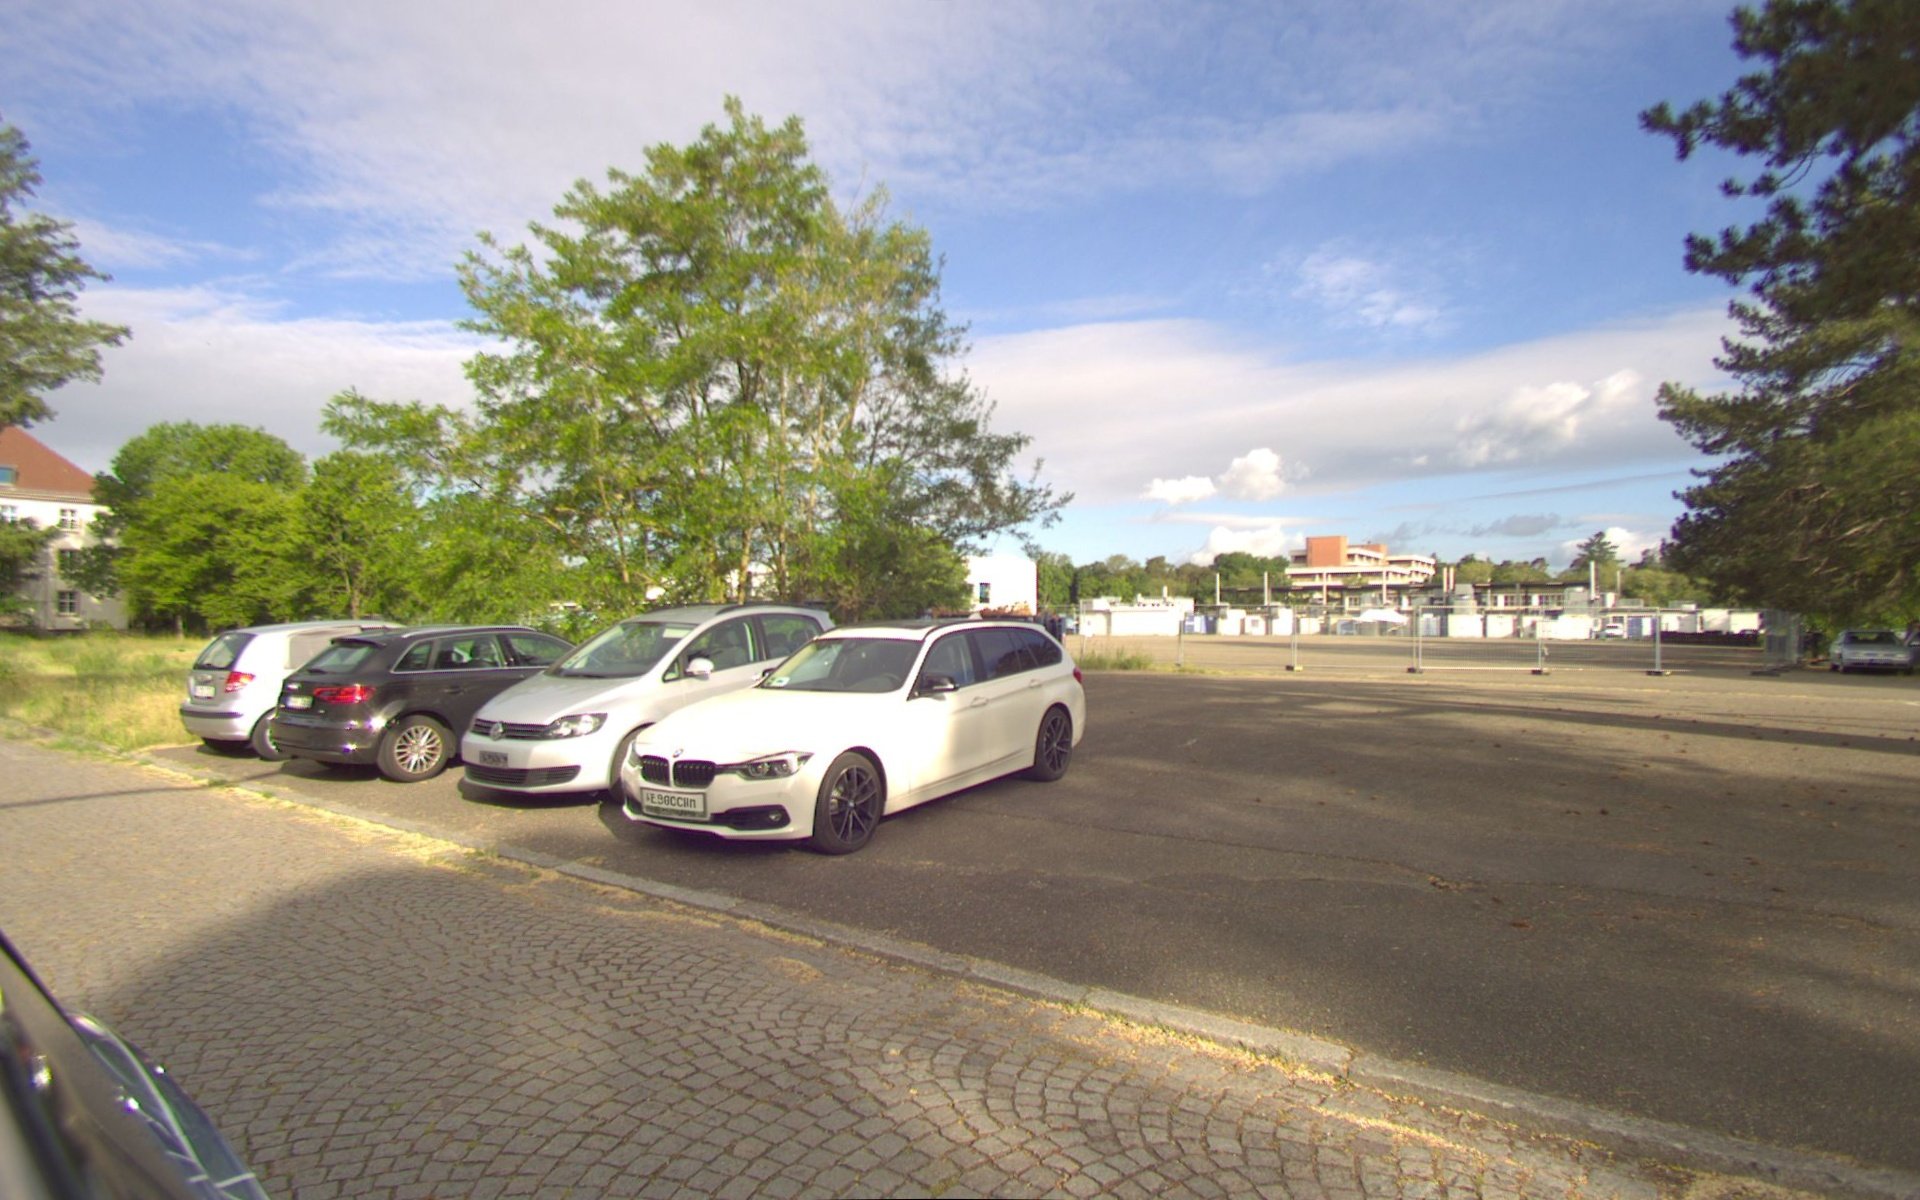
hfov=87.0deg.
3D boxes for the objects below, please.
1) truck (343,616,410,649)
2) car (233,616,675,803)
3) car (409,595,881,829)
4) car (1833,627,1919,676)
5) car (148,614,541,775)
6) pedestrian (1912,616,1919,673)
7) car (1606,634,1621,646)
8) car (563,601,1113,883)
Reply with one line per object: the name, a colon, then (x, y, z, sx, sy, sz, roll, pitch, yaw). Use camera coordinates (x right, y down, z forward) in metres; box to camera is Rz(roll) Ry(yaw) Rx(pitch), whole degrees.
truck: (-47.160, 2.612, 81.776, 6.950, 2.607, 2.388, -2, -2, 39)
car: (-5.183, 0.977, 10.816, 1.855, 1.440, 3.796, 0, 1, 35)
car: (-2.707, 0.823, 9.652, 1.852, 1.611, 4.091, -1, 1, 31)
car: (28.953, 1.585, 32.057, 1.662, 1.392, 3.950, 0, -1, 37)
car: (-7.331, 0.993, 12.369, 1.845, 1.484, 3.652, -1, 1, 34)
pedestrian: (30.223, 1.375, 31.089, 1.082, 1.758, 0.877, 0, -1, 6)
car: (99.024, 5.997, 153.311, 1.850, 1.685, 4.153, 0, -1, 32)
car: (-0.620, 0.850, 8.208, 1.898, 1.466, 4.550, -3, 0, 34)
